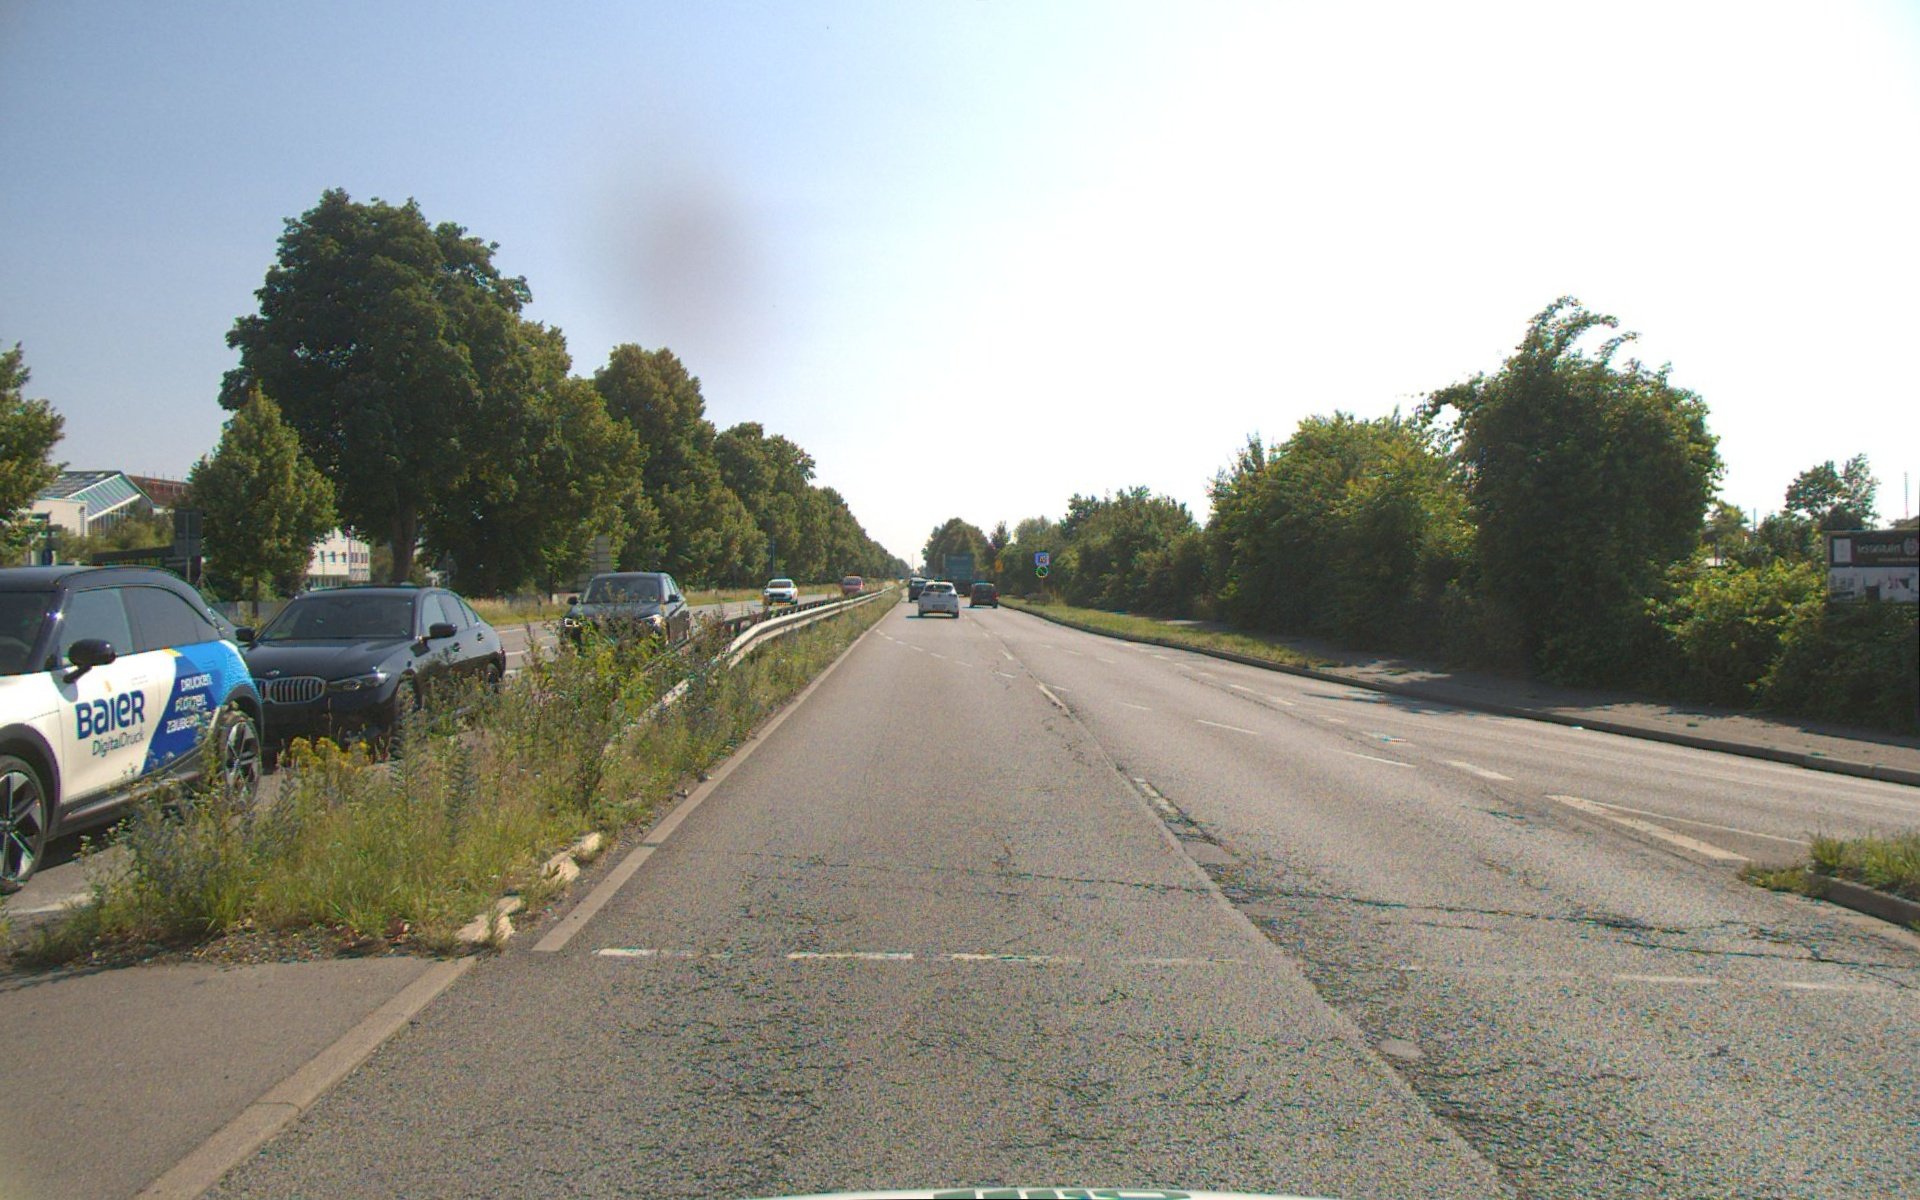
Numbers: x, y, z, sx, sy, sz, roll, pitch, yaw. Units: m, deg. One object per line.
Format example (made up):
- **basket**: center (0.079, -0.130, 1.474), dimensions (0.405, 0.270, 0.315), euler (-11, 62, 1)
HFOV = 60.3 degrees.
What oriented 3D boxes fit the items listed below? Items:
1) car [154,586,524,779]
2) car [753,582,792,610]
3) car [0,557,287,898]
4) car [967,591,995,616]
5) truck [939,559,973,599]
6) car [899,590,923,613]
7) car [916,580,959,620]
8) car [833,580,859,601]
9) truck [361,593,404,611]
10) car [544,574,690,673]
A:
- **car**: center (-5.587, 0.635, 15.620), dimensions (1.780, 1.511, 4.892), euler (0, 1, -2)
- **car**: center (-10.893, -0.262, 96.329), dimensions (1.953, 1.528, 4.089), euler (-1, 1, -3)
- **car**: center (-5.650, 0.622, 9.450), dimensions (1.970, 1.638, 4.210), euler (-1, 0, -2)
- **car**: center (1.223, 0.225, 97.524), dimensions (1.540, 1.439, 3.277), euler (0, 0, -1)
- **truck**: center (-0.401, -1.912, 149.397), dimensions (2.833, 3.488, 9.167), euler (-1, 1, -1)
- **car**: center (-3.238, 0.101, 109.336), dimensions (1.540, 1.439, 3.277), euler (-1, 1, -1)
- **car**: center (-0.924, -0.040, 69.409), dimensions (1.762, 1.580, 4.000), euler (1, 1, 0)
- **car**: center (-8.555, -0.694, 124.421), dimensions (1.874, 1.528, 4.089), euler (-1, 1, -2)
- **truck**: center (-68.590, 0.219, 196.575), dimensions (4.410, 2.049, 2.052), euler (0, 0, -2)
- **car**: center (-6.060, 0.374, 29.720), dimensions (1.809, 1.622, 4.615), euler (0, 0, -2)
